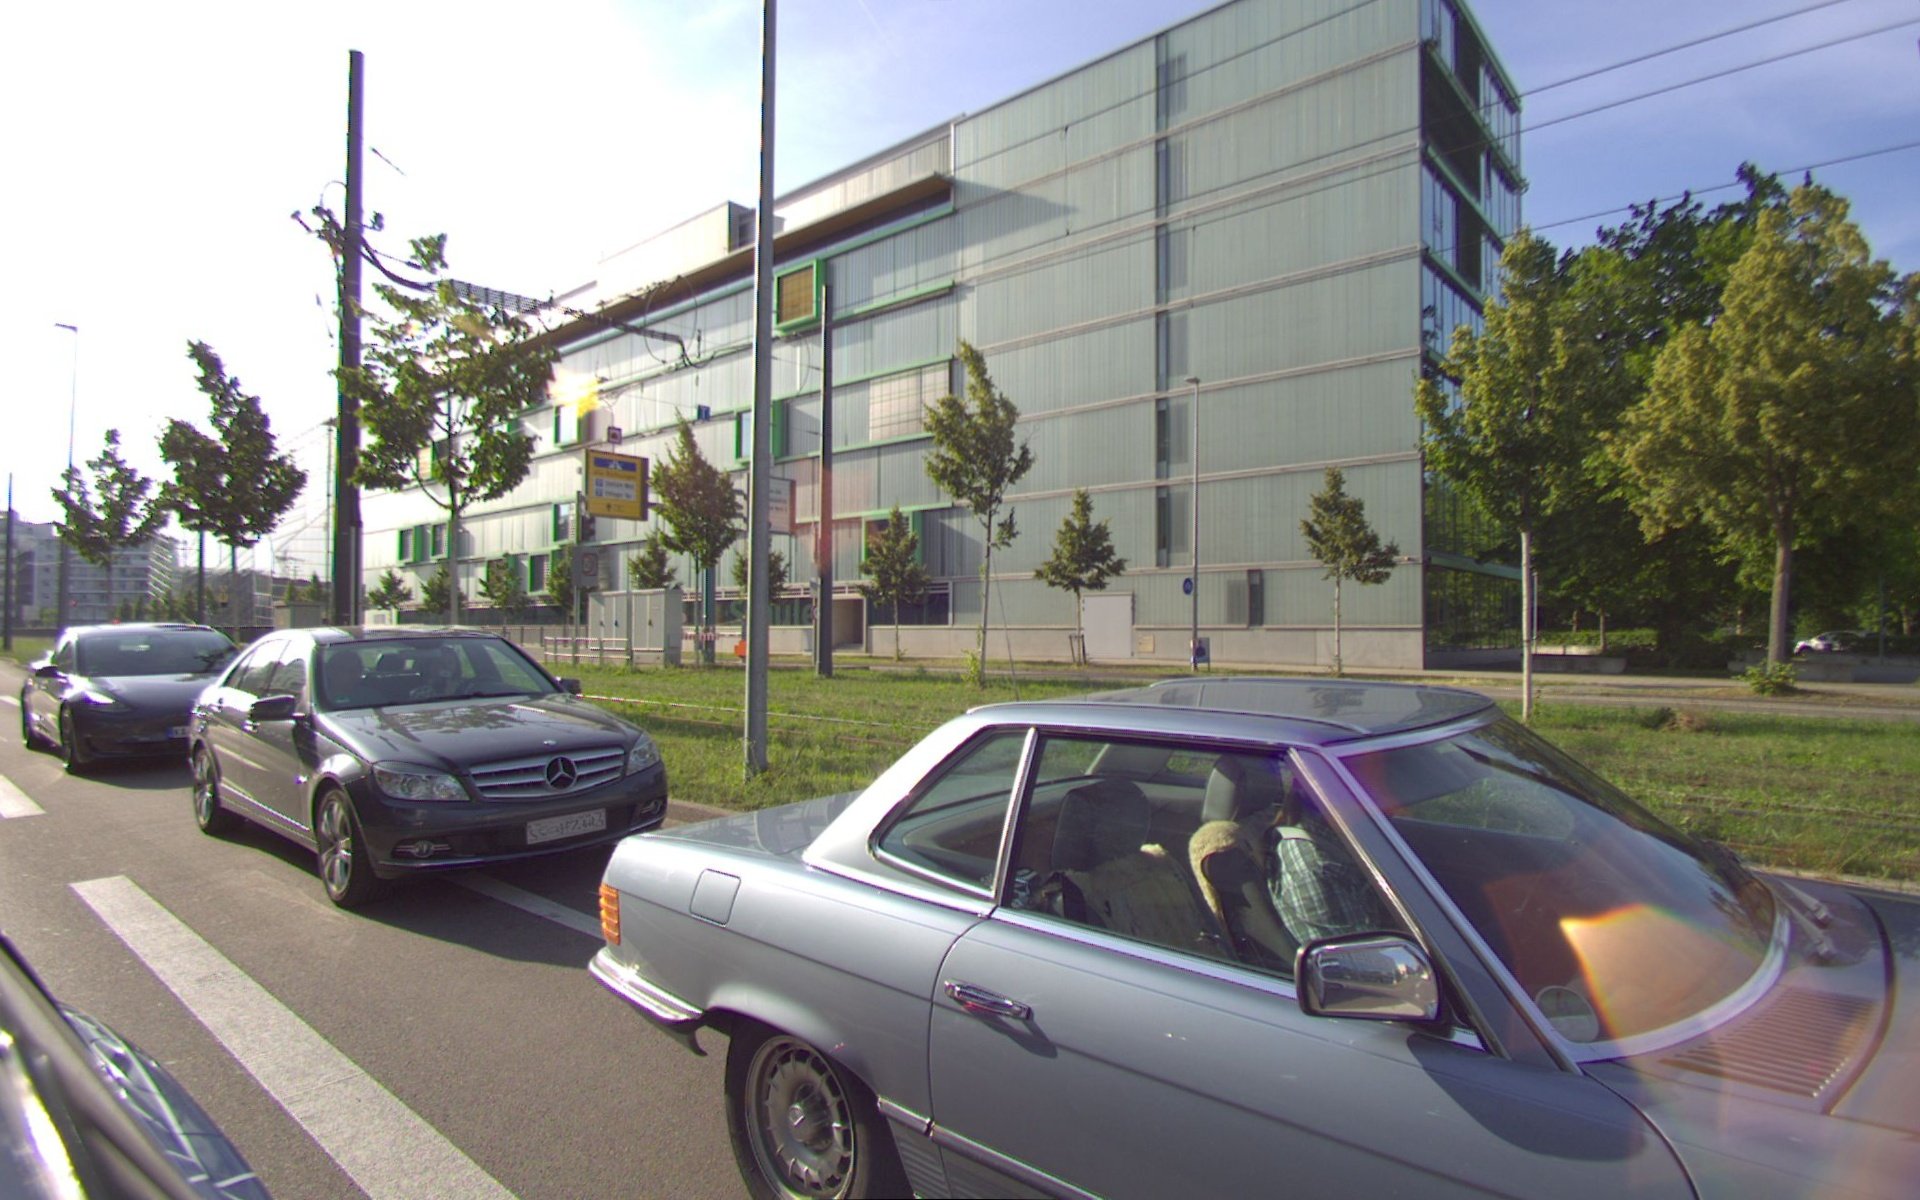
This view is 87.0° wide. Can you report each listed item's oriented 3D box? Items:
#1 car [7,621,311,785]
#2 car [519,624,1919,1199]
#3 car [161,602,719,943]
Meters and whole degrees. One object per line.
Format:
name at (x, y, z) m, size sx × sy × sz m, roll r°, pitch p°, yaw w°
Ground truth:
car at (-8.877, 0.982, 11.075) m, size 4.332 × 1.396 × 1.870 m, roll -2°, pitch -1°, yaw 41°
car at (0.981, 0.746, 2.115) m, size 4.397 × 1.340 × 1.746 m, roll -2°, pitch -1°, yaw 40°
car at (-3.606, 0.822, 6.597) m, size 4.352 × 1.490 × 1.768 m, roll -2°, pitch -1°, yaw 42°
